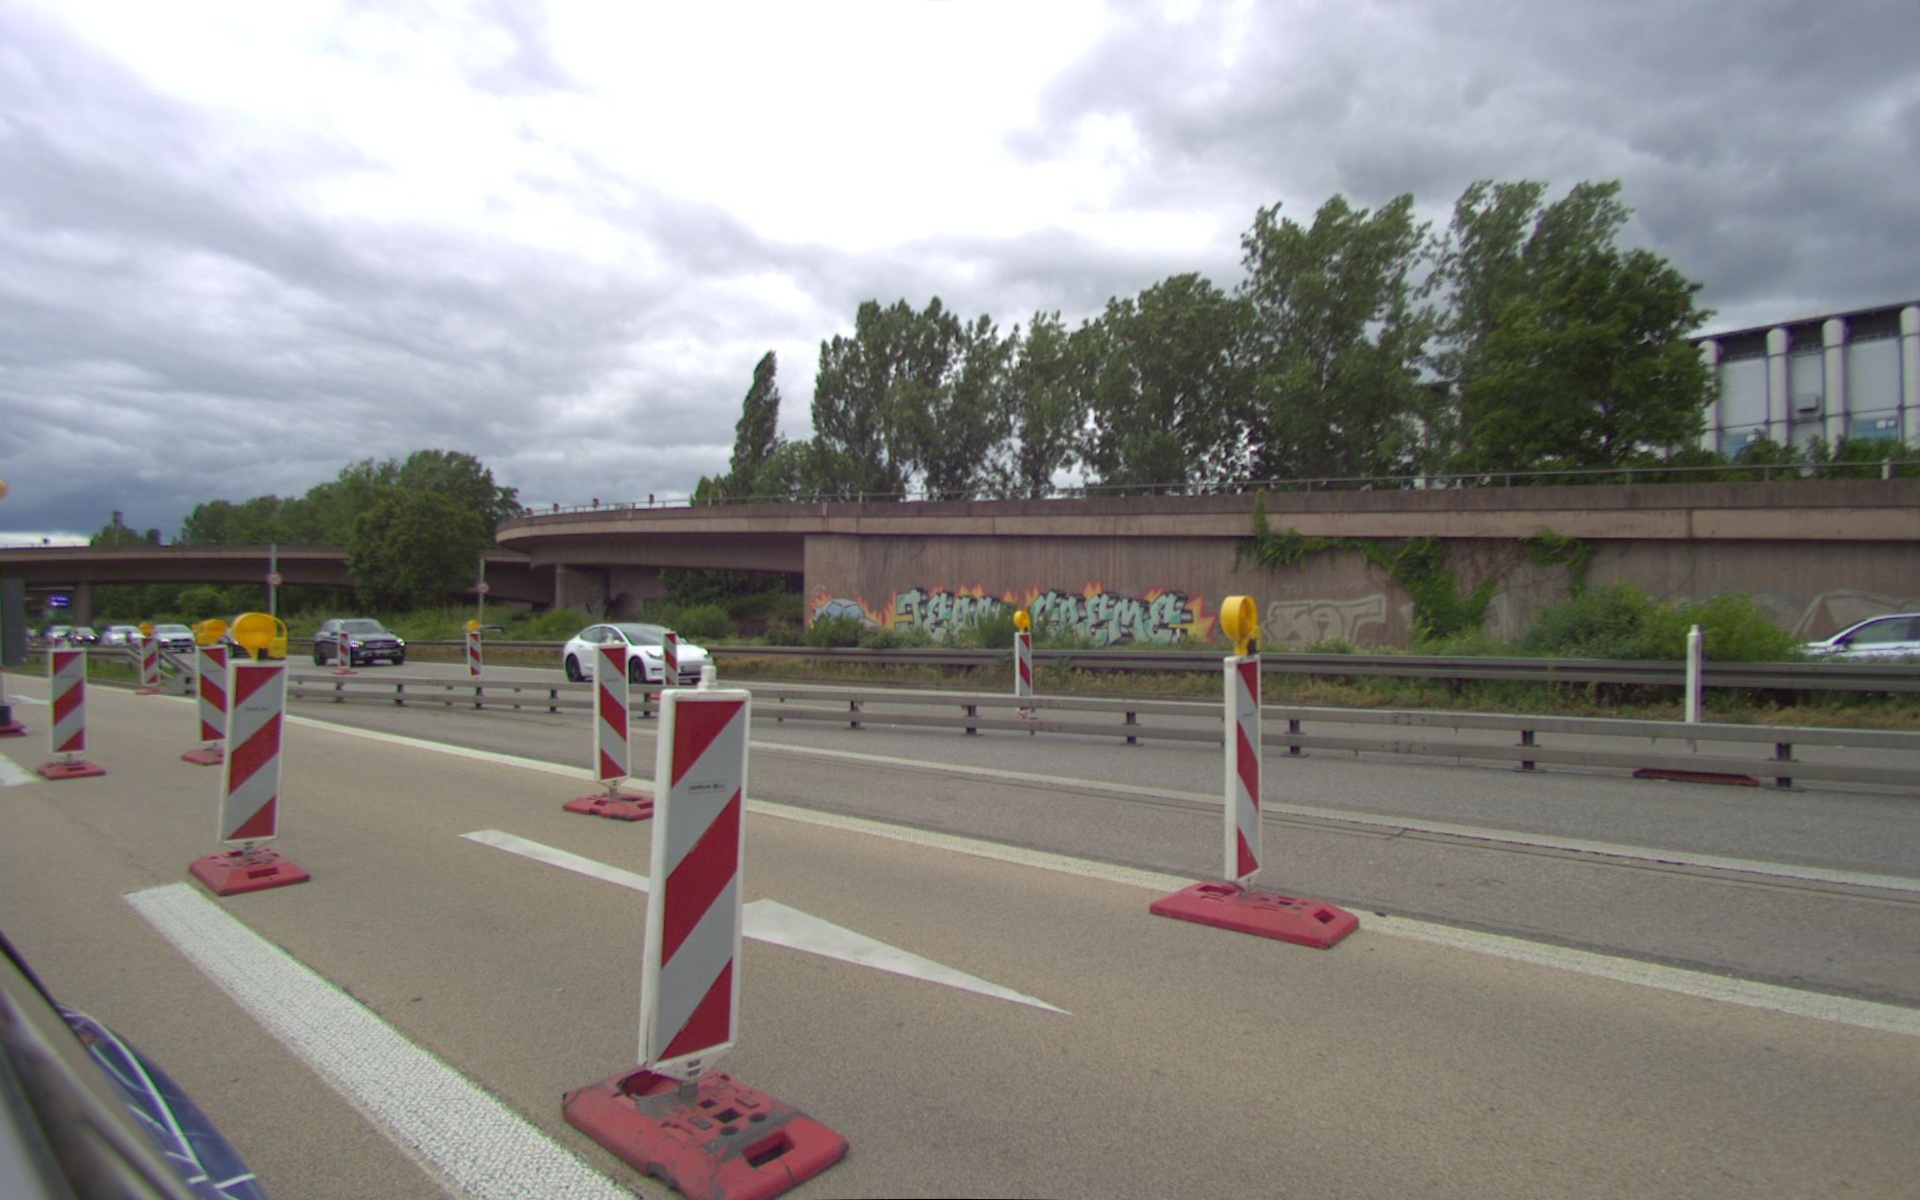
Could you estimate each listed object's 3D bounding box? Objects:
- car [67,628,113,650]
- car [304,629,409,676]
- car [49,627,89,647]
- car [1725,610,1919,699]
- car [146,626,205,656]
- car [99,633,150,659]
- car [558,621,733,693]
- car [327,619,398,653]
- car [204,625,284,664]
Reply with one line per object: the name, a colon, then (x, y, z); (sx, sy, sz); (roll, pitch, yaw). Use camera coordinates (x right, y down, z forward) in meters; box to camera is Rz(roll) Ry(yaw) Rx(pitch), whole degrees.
car: (-64.583, 2.860, 75.110); (4.291, 1.606, 1.972); (-1, -2, 42)
car: (-21.637, 1.824, 36.224); (4.289, 1.522, 1.955); (-1, -1, 41)
car: (-73.183, 3.013, 83.095); (4.291, 1.606, 1.972); (-1, -2, 42)
car: (15.904, 0.932, 17.691); (3.976, 1.463, 1.871); (-1, -2, 39)
car: (-42.656, 2.208, 54.987); (3.998, 1.523, 1.779); (0, -2, 41)
car: (-54.289, 2.974, 65.731); (3.999, 1.606, 1.972); (-1, -2, 42)
car: (-7.559, 1.305, 24.103); (4.458, 1.553, 1.972); (-1, -2, 42)
car: (-30.531, 1.793, 51.680); (4.289, 1.653, 1.835); (-1, -1, 40)
car: (-33.312, 2.043, 47.067); (3.994, 1.716, 1.913); (-1, -2, 37)
